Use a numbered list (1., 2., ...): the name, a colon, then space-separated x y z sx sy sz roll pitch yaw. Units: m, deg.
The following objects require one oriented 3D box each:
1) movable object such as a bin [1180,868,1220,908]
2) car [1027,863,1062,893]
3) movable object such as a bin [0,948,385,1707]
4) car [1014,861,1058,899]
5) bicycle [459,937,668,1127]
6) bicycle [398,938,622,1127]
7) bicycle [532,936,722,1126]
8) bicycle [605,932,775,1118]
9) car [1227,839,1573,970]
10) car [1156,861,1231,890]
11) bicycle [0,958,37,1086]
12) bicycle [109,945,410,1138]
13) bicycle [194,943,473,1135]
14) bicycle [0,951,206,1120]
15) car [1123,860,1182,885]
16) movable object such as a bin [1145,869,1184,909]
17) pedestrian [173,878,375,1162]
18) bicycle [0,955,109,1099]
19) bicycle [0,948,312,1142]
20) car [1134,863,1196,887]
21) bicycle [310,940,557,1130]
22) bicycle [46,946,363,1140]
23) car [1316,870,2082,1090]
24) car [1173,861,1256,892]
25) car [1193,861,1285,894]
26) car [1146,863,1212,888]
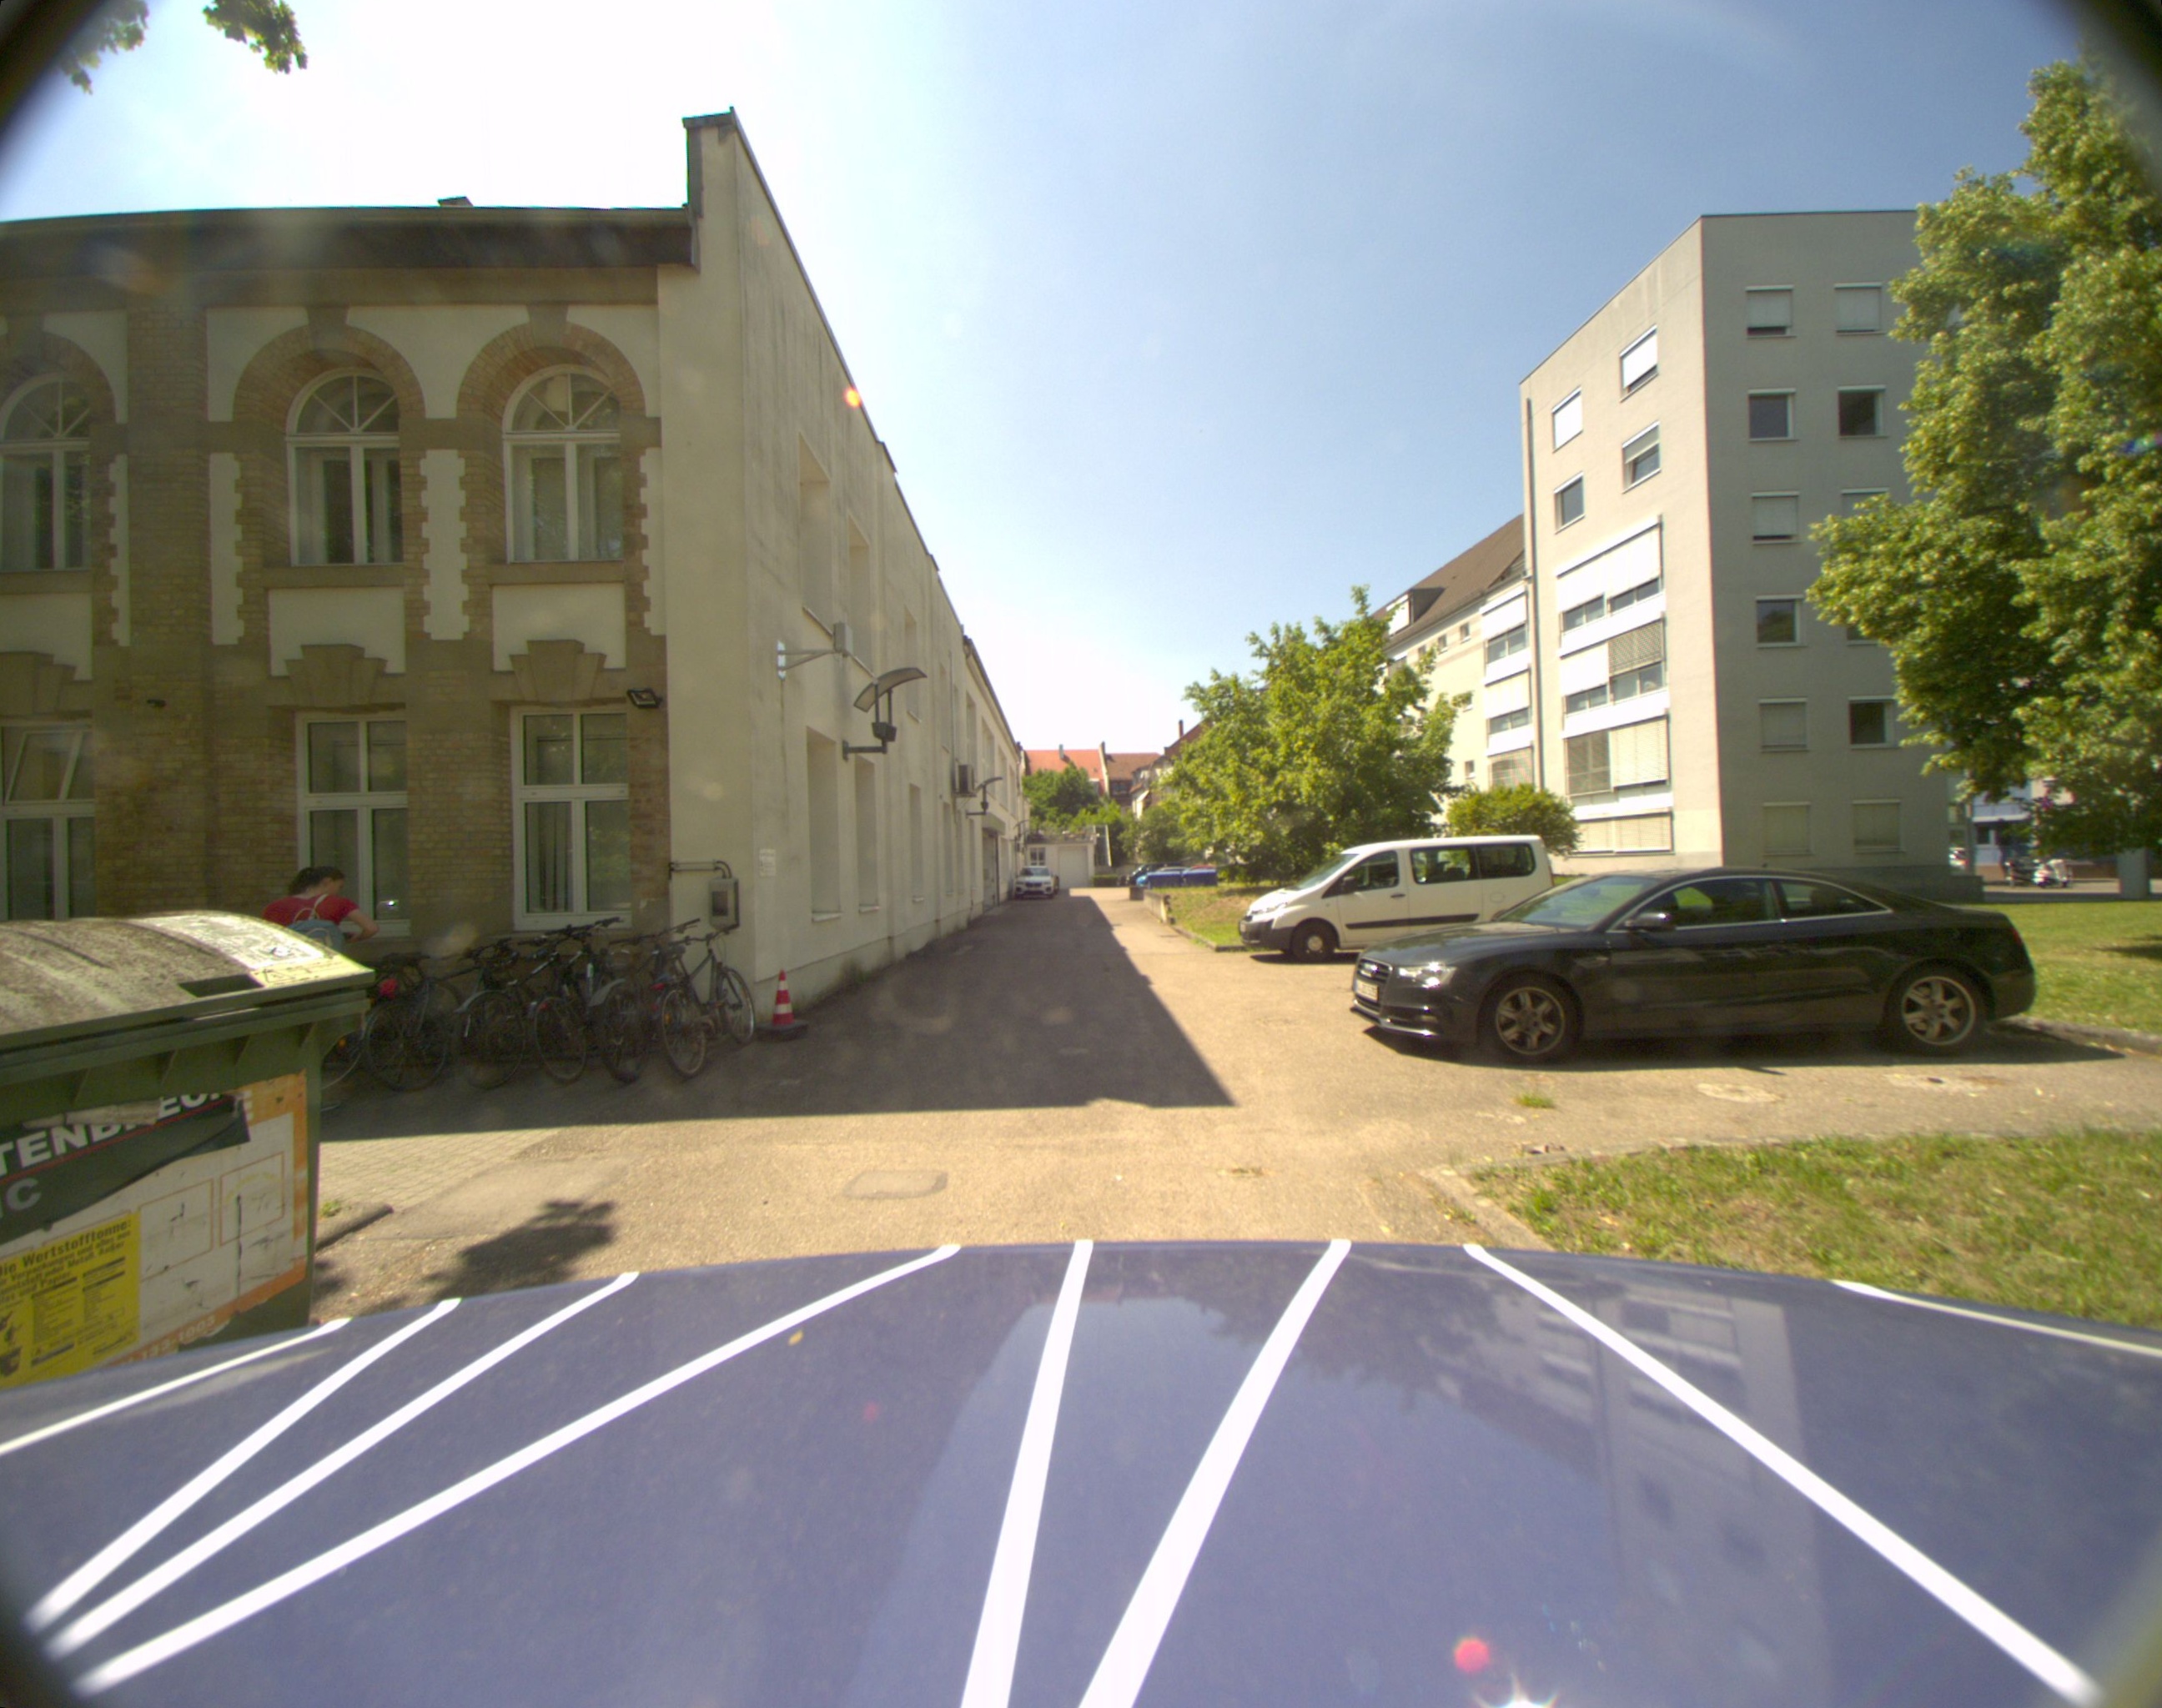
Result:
1. movable object such as a bin: 4.376 1.238 28.121 1.271 1.380 1.095 -2 0 0
2. car: -2.319 1.502 49.112 2.011 1.792 4.727 -2 0 0
3. movable object such as a bin: -2.612 1.012 1.540 1.078 1.449 1.377 -2 0 1
4. car: -2.333 1.333 40.308 2.011 1.792 4.727 -2 0 0
5. bicycle: -4.054 1.325 6.139 0.406 1.095 1.826 -2 0 0
6. bicycle: -4.494 1.338 6.161 0.406 1.095 1.826 -2 0 0
7. bicycle: -3.537 1.310 6.110 0.406 1.095 1.826 -2 0 0
8. bicycle: -3.068 1.274 6.165 0.406 1.095 1.826 -2 0 0
9. car: 5.060 0.785 12.644 4.859 1.872 2.068 -2 0 2
10. car: 6.765 1.292 45.845 4.224 1.559 1.612 -2 0 -6
11. bicycle: -9.649 1.486 5.943 0.406 1.095 1.826 -2 0 0
12. bicycle: -6.420 1.393 6.108 0.406 1.095 1.826 -2 0 0
13. bicycle: -5.846 1.376 6.112 0.406 1.095 1.826 -2 0 0
14. bicycle: -8.300 1.447 6.103 0.406 1.095 1.826 -2 0 0
15. car: 5.466 1.404 58.445 4.224 1.812 2.009 -2 0 -6
16. movable object such as a bin: 3.077 1.275 28.086 1.271 1.380 1.095 -2 0 0
17. pedestrian: -5.350 1.049 5.082 0.552 1.738 0.689 -2 0 1
18. bicycle: -9.076 1.469 6.008 0.406 1.095 1.826 -2 0 0
19. bicycle: -7.313 1.419 6.092 0.406 1.095 1.826 -2 0 0
20. car: 6.114 1.506 55.515 4.224 1.559 1.612 -2 0 -6
21. bicycle: -5.105 1.355 6.164 0.406 1.095 1.826 -2 0 0
22. bicycle: -6.862 1.406 6.114 0.406 1.095 1.826 -2 0 0
23. car: 4.439 0.900 6.137 4.440 1.371 2.025 -2 -2 2
24. car: 7.448 1.232 42.546 4.224 1.559 1.612 -2 0 -6
25. car: 8.257 1.203 39.848 4.445 1.559 1.612 -2 0 -6
26. car: 6.750 1.462 52.462 4.224 1.559 1.612 -2 0 -6
